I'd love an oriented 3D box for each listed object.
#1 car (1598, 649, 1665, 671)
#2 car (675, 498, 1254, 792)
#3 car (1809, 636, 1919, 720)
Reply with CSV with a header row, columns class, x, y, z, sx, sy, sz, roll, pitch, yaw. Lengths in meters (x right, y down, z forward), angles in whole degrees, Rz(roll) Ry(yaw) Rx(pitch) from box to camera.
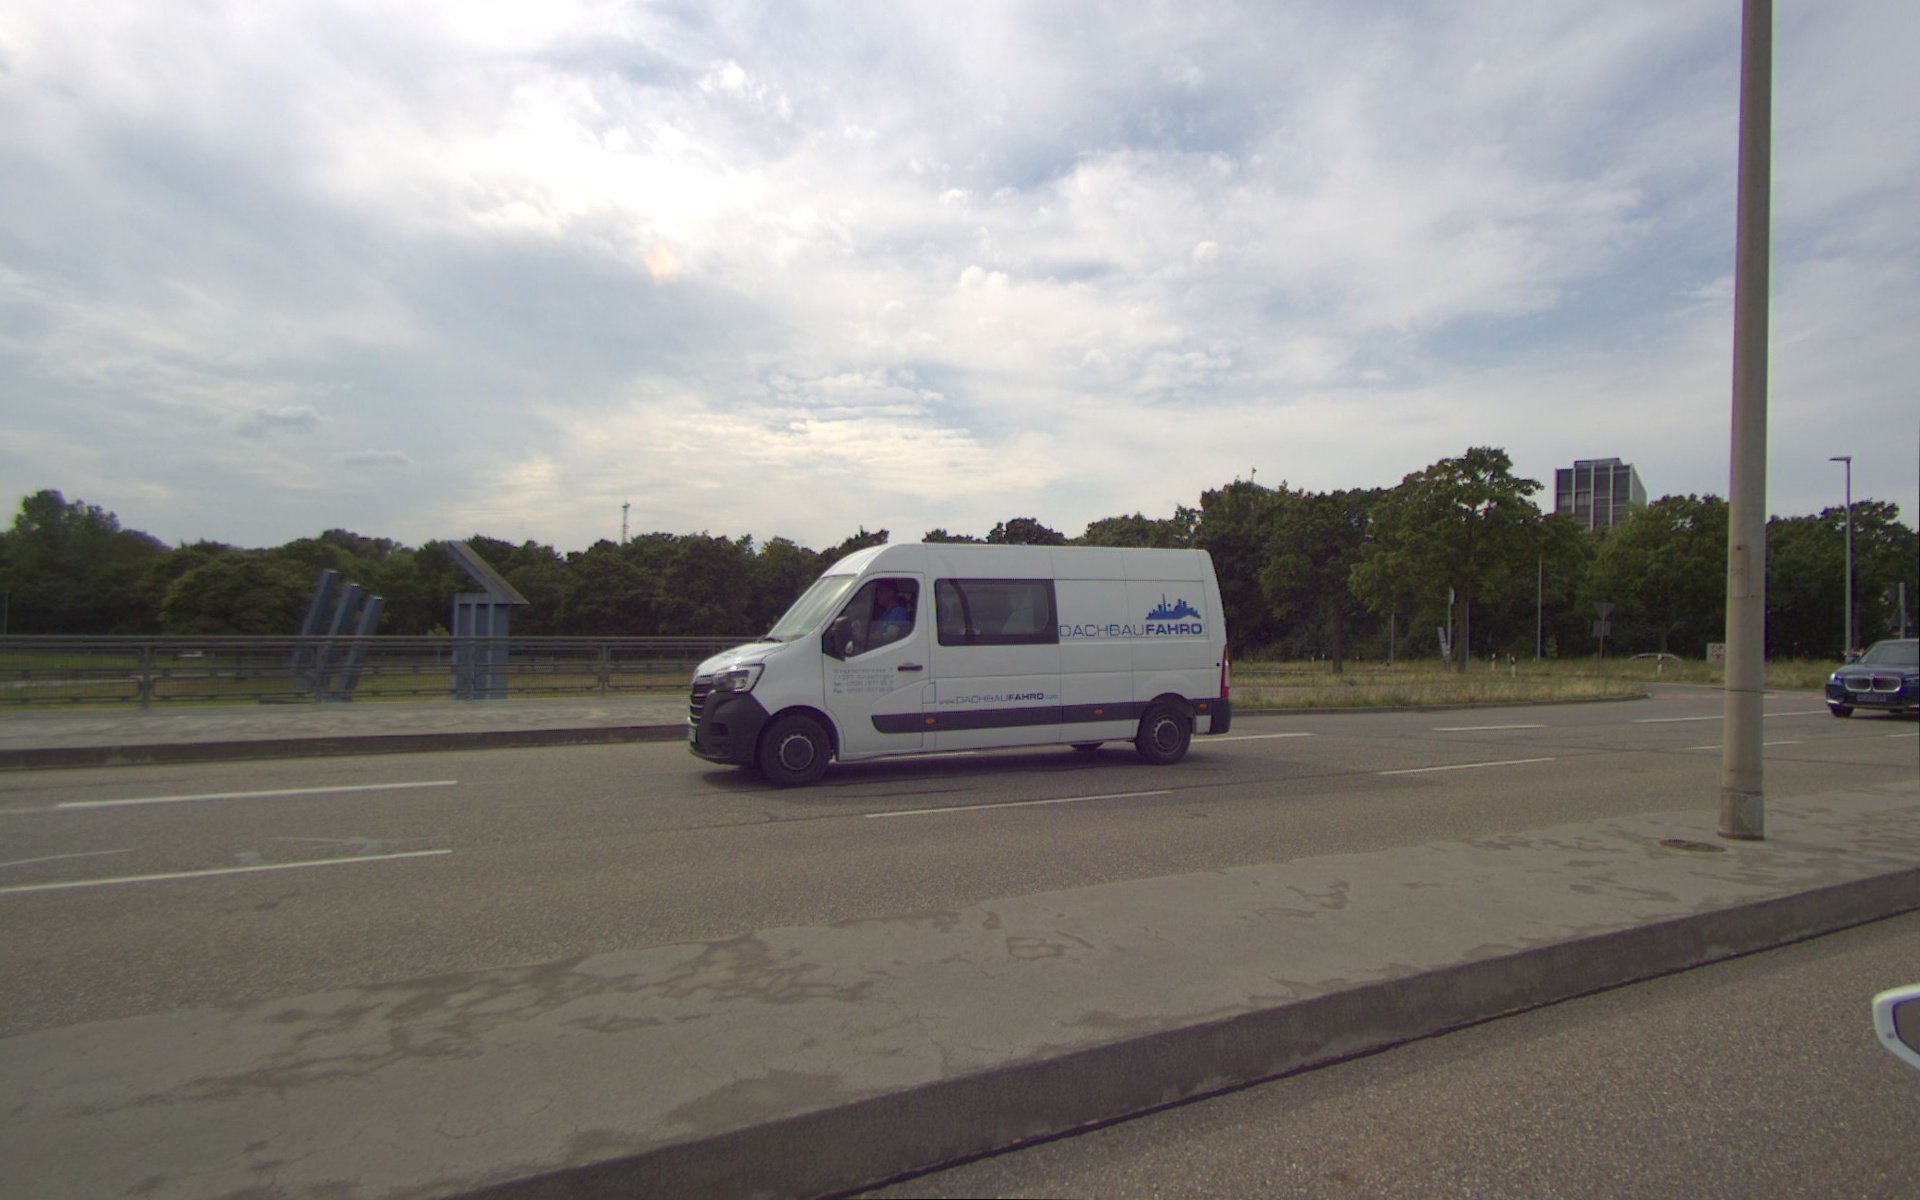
class,x,y,z,sx,sy,sz,roll,pitch,yaw
car,47.353,4.221,70.846,3.817,1.414,1.568,-1,-2,37
car,0.154,0.498,11.408,6.311,2.677,2.048,1,-3,-24
car,19.986,1.574,21.022,4.527,1.606,1.741,1,-3,-27
